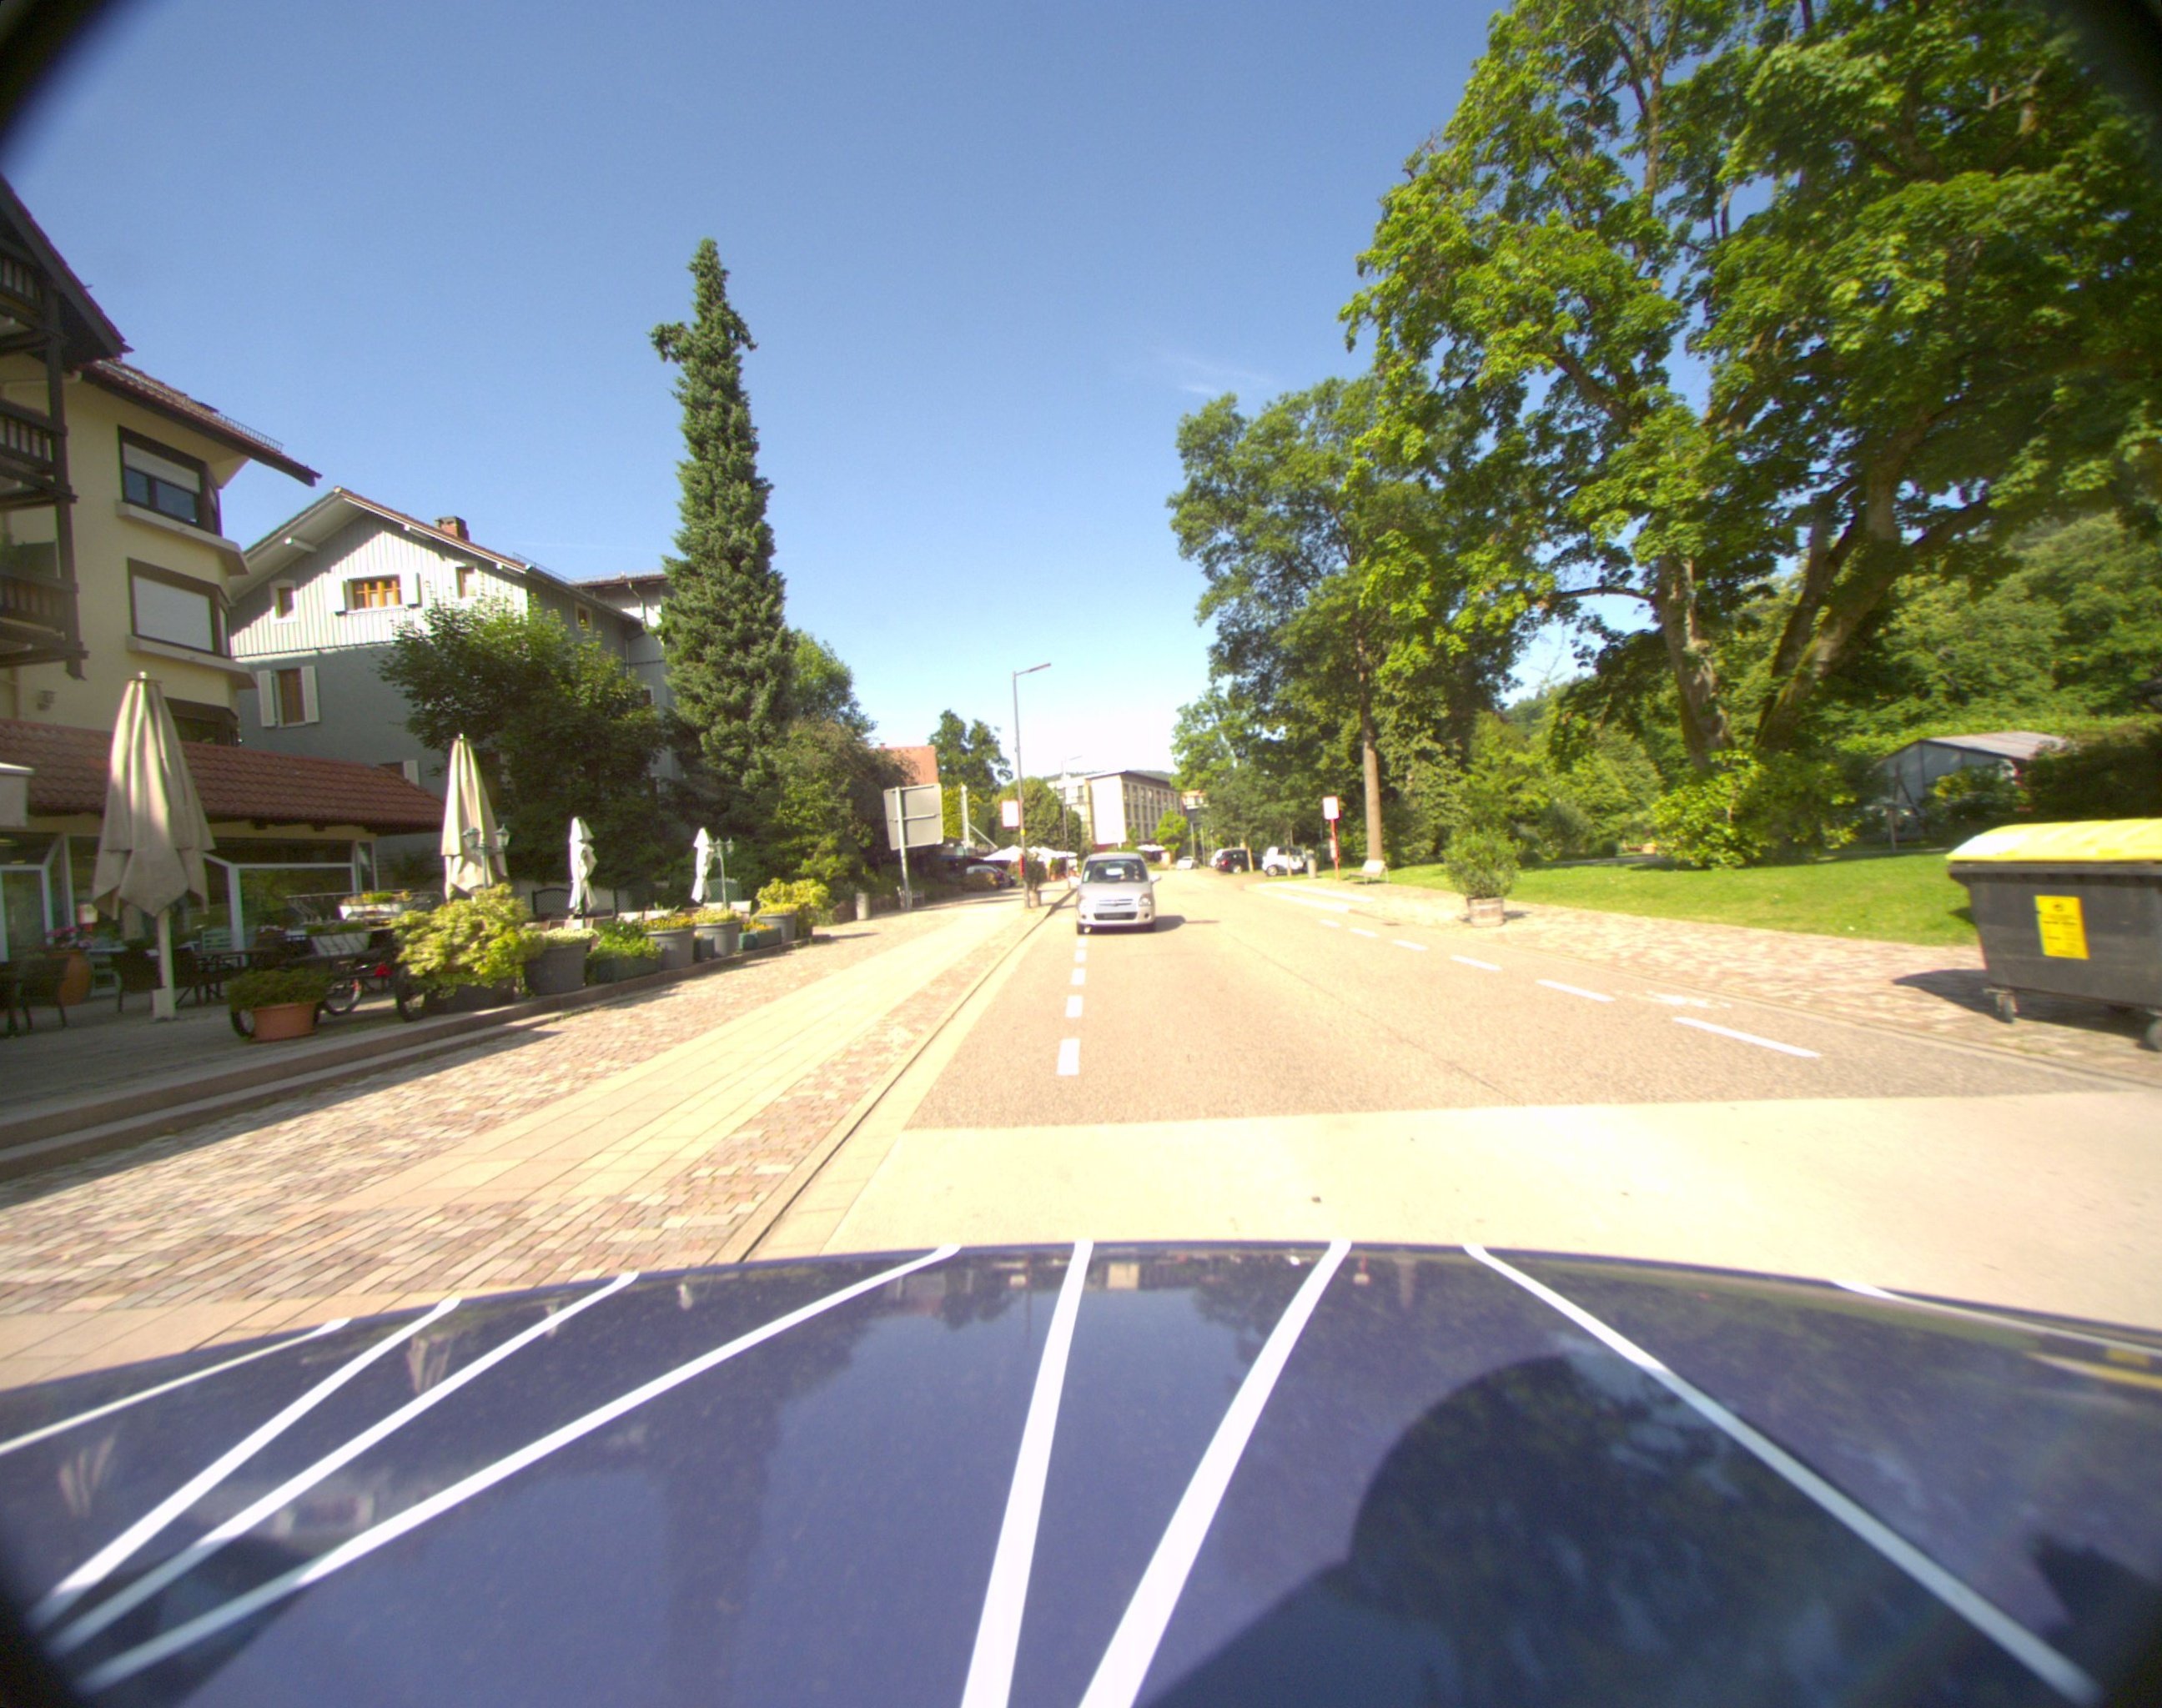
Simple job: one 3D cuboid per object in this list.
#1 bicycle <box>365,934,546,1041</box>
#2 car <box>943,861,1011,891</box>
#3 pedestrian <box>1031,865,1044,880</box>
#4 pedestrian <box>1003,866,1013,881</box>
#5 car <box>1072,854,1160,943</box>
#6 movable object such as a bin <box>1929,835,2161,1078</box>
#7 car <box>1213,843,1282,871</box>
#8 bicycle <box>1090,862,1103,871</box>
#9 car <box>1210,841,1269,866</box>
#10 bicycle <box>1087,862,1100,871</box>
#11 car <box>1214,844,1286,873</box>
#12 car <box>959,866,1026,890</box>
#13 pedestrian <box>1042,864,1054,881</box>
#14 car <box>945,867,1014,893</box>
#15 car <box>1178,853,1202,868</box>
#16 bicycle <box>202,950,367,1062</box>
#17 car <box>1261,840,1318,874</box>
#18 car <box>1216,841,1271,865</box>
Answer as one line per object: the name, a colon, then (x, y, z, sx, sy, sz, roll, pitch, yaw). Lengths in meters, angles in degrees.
bicycle: (-6.752, 1.407, 8.308, 0.397, 0.859, 1.617, -4, 0, 9)
car: (-6.468, 1.355, 47.462, 3.885, 1.571, 1.748, -4, 0, 0)
pedestrian: (-3.738, 1.602, 65.629, 0.810, 1.253, 0.701, -3, 0, 23)
pedestrian: (-6.498, 1.714, 67.780, 0.639, 1.297, 0.579, -3, 0, -32)
car: (0.681, 0.853, 16.501, 1.605, 1.628, 4.000, -2, 0, 0)
movable object such as a bin: (7.174, 0.629, 5.195, 1.081, 1.419, 1.377, -6, 0, 0)
car: (11.840, 0.212, 54.323, 4.504, 1.501, 1.713, -6, 0, 3)
bicycle: (1.737, 1.391, 84.242, 1.544, 0.977, 0.385, -2, 0, 38)
car: (12.902, -0.066, 61.718, 4.490, 1.409, 1.811, -8, 0, 15)
bicycle: (1.354, 1.396, 83.375, 1.544, 0.904, 0.385, -1, 0, 38)
car: (11.232, 0.295, 50.693, 4.287, 1.423, 1.712, -6, 0, -3)
car: (-6.080, 1.657, 52.723, 4.271, 1.371, 1.710, -4, 1, 5)
pedestrian: (-2.653, 1.469, 60.891, 0.812, 1.253, 0.700, -3, 0, -5)
car: (-6.621, 1.709, 49.918, 4.118, 1.407, 1.749, -4, 0, 5)
car: (13.245, 0.763, 92.278, 1.652, 1.462, 4.006, -6, 0, 26)
bicycle: (-8.111, 1.502, 7.825, 0.397, 0.837, 1.614, -5, 0, -18)
car: (11.174, 0.163, 40.858, 2.656, 1.538, 1.683, -6, 0, 10)
car: (14.436, -0.097, 67.646, 4.492, 1.654, 1.810, -6, 1, 6)
